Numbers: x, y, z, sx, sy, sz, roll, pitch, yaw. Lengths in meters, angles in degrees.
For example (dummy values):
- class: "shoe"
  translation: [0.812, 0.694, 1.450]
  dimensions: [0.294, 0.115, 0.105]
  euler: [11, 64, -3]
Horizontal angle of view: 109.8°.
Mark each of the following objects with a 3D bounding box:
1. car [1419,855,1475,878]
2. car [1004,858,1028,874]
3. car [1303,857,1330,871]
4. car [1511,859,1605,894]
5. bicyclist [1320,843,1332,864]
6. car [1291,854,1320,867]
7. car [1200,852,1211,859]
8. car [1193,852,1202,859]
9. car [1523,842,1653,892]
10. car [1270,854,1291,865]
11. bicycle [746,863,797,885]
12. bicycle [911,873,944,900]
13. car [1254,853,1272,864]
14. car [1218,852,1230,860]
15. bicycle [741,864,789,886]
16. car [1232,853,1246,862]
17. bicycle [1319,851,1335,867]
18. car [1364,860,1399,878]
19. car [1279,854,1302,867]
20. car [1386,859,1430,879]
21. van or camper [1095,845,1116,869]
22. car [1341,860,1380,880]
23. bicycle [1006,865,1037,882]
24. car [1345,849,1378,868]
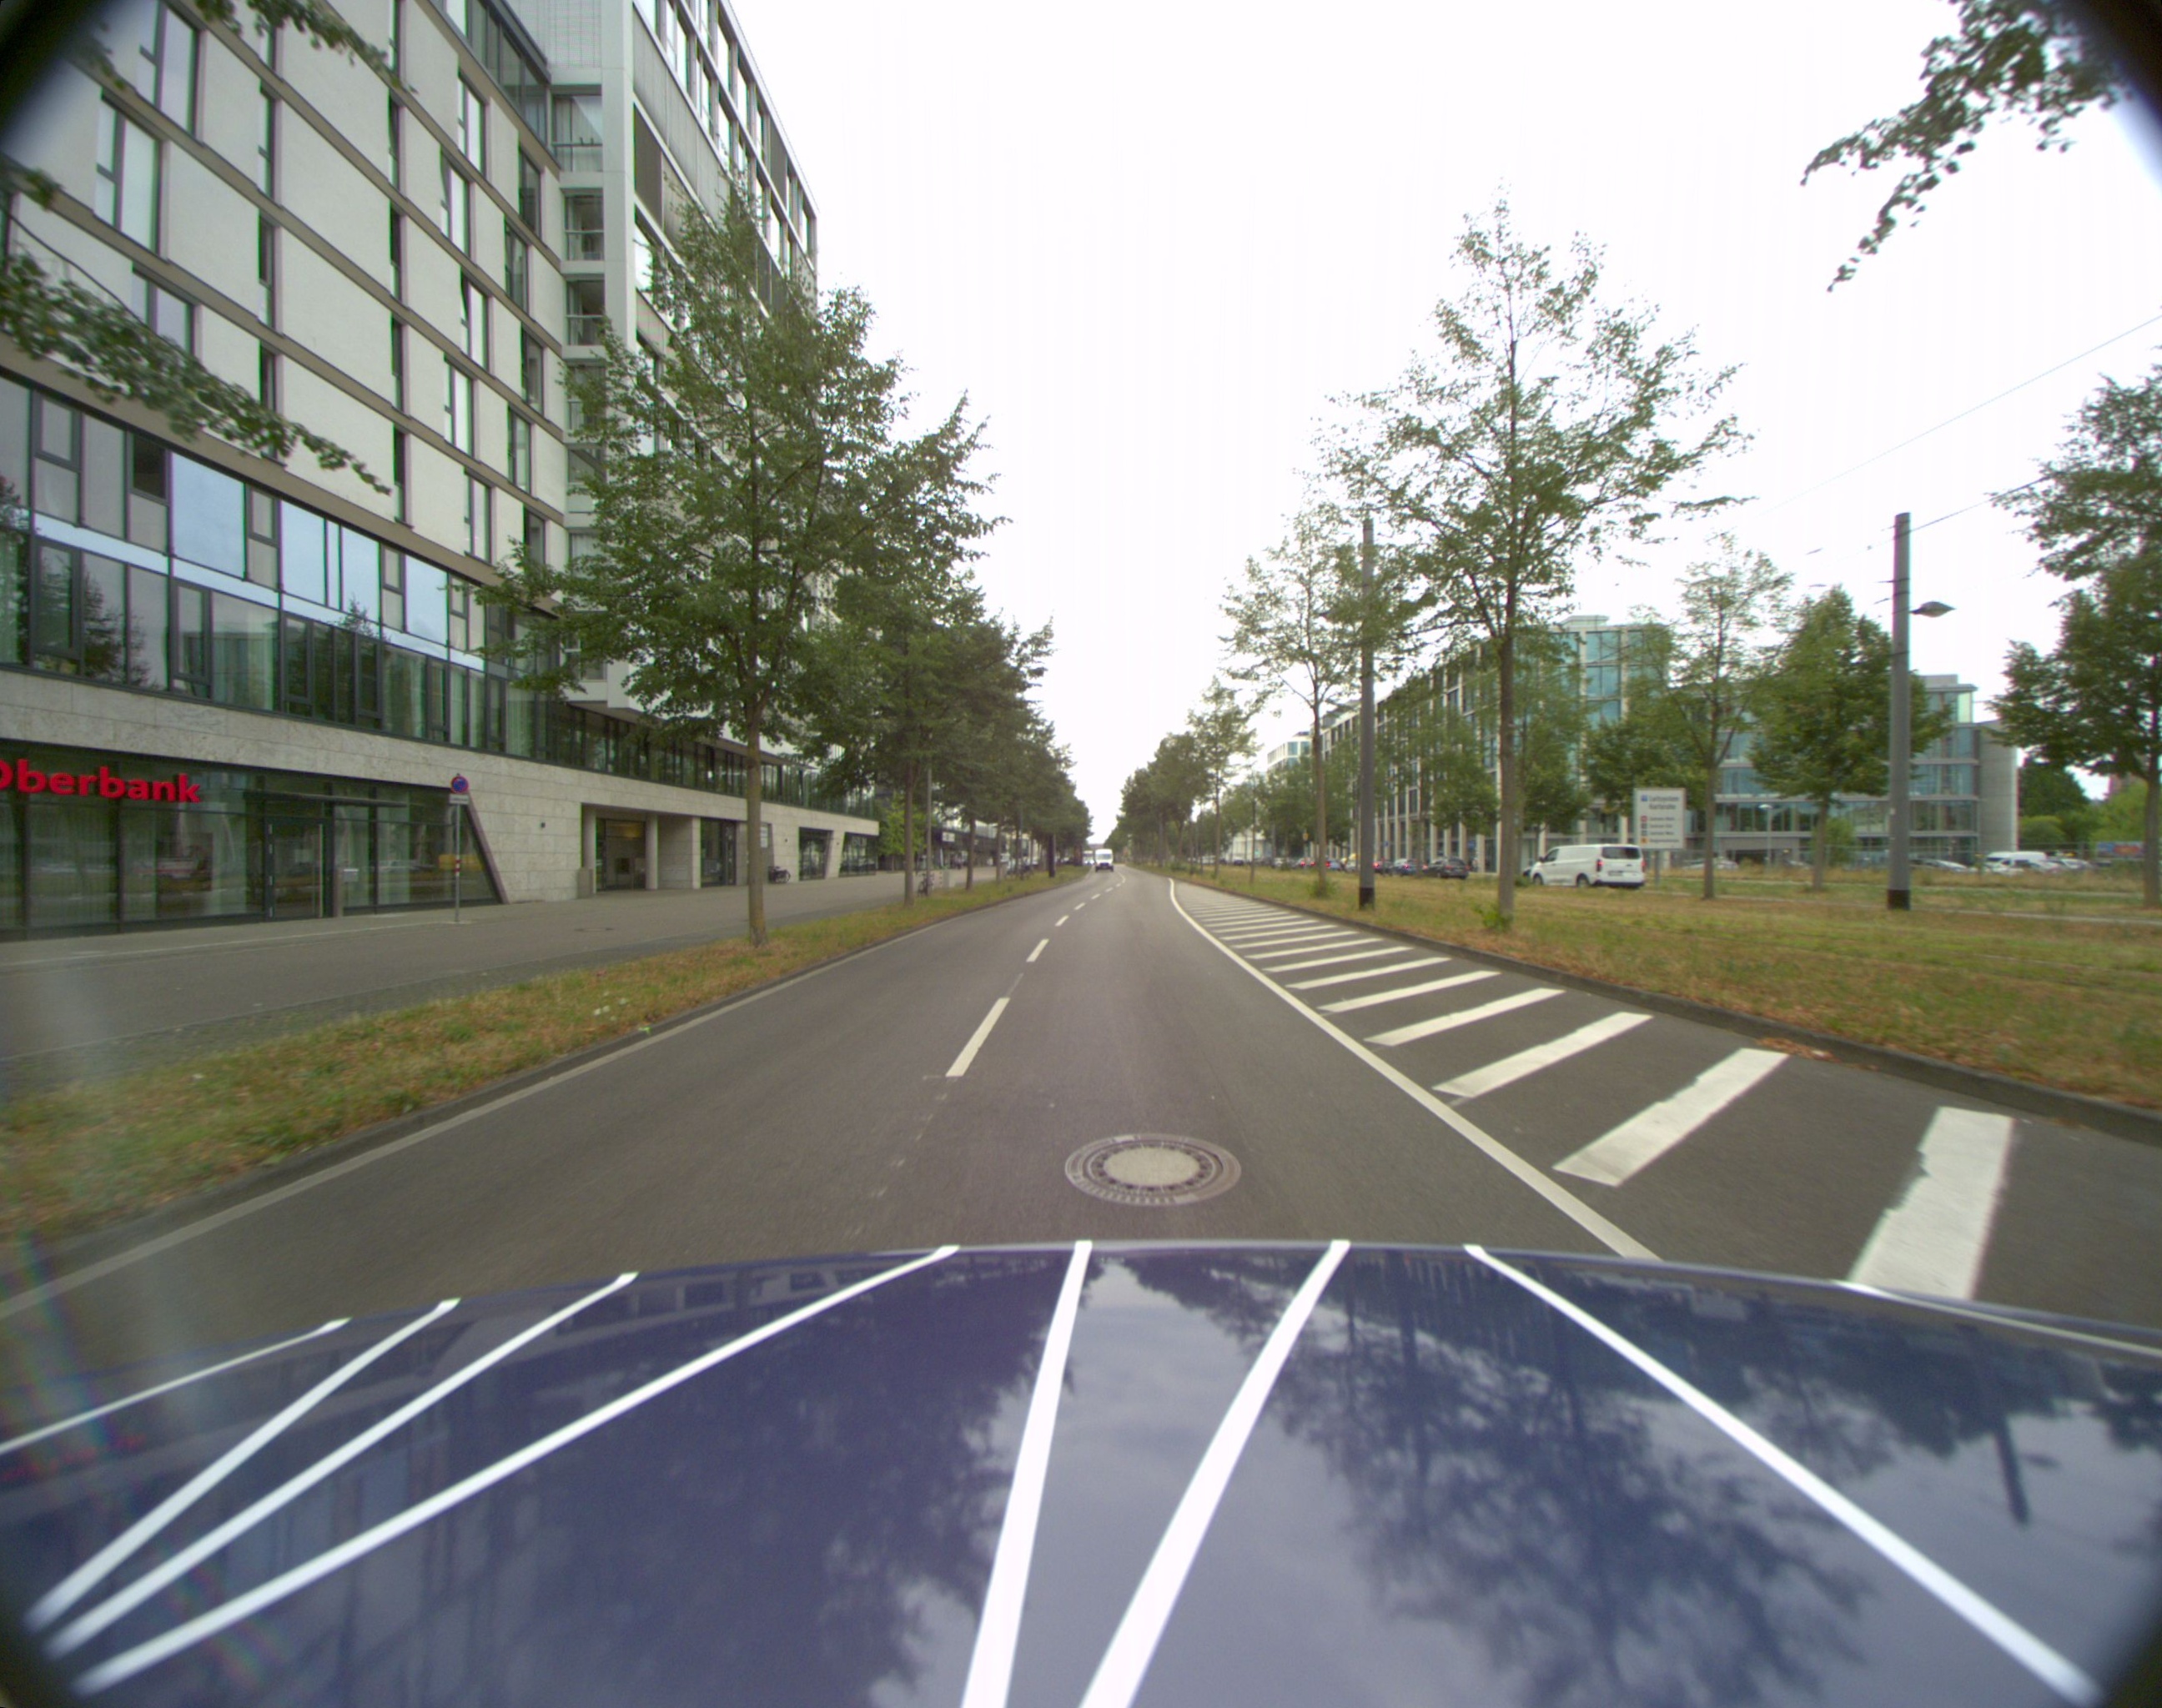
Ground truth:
- class: "car"
  translation: [24.850, 0.833, 51.778]
  dimensions: [1.753, 1.520, 4.279]
  euler: [0, 0, -1]
- class: "car"
  translation: [-6.320, 1.131, 74.591]
  dimensions: [1.954, 1.521, 4.000]
  euler: [0, 0, 0]
- class: "car"
  translation: [23.933, 0.997, 77.331]
  dimensions: [1.752, 1.448, 3.866]
  euler: [0, 0, 4]
- class: "car"
  translation: [24.246, 1.100, 38.832]
  dimensions: [1.832, 1.646, 4.691]
  euler: [0, 0, -1]
- class: "bicyclist"
  translation: [23.610, -0.039, 73.085]
  dimensions: [0.742, 2.002, 0.995]
  euler: [-3, 1, -1]
- class: "car"
  translation: [24.228, 0.700, 82.247]
  dimensions: [1.998, 1.410, 4.000]
  euler: [0, 0, 1]
- class: "car"
  translation: [26.090, 0.388, 159.027]
  dimensions: [1.752, 1.448, 3.865]
  euler: [0, 0, 3]
- class: "car"
  translation: [26.381, 0.285, 172.115]
  dimensions: [1.752, 1.448, 3.865]
  euler: [0, 0, 3]
- class: "car"
  translation: [21.048, 0.507, 31.857]
  dimensions: [1.999, 1.933, 5.095]
  euler: [0, 0, -1]
- class: "car"
  translation: [25.410, 0.706, 96.961]
  dimensions: [1.752, 1.448, 3.865]
  euler: [0, 0, 3]
- class: "bicycle"
  translation: [-17.469, 1.125, 42.905]
  dimensions: [2.426, 1.170, 1.202]
  euler: [0, 0, -6]
- class: "bicycle"
  translation: [-5.617, 1.183, 27.875]
  dimensions: [0.634, 0.871, 2.116]
  euler: [-3, 0, 3]
- class: "car"
  translation: [25.631, 0.657, 107.192]
  dimensions: [1.752, 1.448, 3.865]
  euler: [0, 0, 3]
- class: "car"
  translation: [27.123, 0.446, 144.382]
  dimensions: [1.752, 1.448, 3.865]
  euler: [0, 0, 3]
- class: "bicycle"
  translation: [-17.293, 1.129, 41.675]
  dimensions: [2.238, 1.170, 0.976]
  euler: [0, 0, -6]
- class: "car"
  translation: [26.298, 0.549, 126.352]
  dimensions: [1.752, 1.448, 3.865]
  euler: [0, 0, 3]
- class: "bicycle"
  translation: [23.627, 0.494, 73.087]
  dimensions: [0.711, 1.479, 2.358]
  euler: [-3, -1, 0]
- class: "car"
  translation: [26.033, 1.296, 65.975]
  dimensions: [1.752, 1.448, 3.866]
  euler: [0, 0, 3]
- class: "car"
  translation: [24.981, 0.768, 90.740]
  dimensions: [1.752, 1.448, 3.865]
  euler: [0, 0, 3]
- class: "car"
  translation: [24.973, 1.115, 58.177]
  dimensions: [1.753, 1.488, 3.865]
  euler: [0, 0, 1]
- class: "van or camper"
  translation: [2.692, 0.292, 85.069]
  dimensions: [2.183, 2.493, 6.339]
  euler: [-2, 0, 1]
- class: "car"
  translation: [22.449, 1.242, 61.116]
  dimensions: [1.753, 1.488, 3.865]
  euler: [0, 0, 1]
- class: "bicycle"
  translation: [-3.608, 1.183, 46.105]
  dimensions: [1.790, 1.013, 0.422]
  euler: [0, 1, -13]
- class: "car"
  translation: [26.980, 0.463, 73.242]
  dimensions: [1.956, 1.761, 4.446]
  euler: [0, 0, 5]
